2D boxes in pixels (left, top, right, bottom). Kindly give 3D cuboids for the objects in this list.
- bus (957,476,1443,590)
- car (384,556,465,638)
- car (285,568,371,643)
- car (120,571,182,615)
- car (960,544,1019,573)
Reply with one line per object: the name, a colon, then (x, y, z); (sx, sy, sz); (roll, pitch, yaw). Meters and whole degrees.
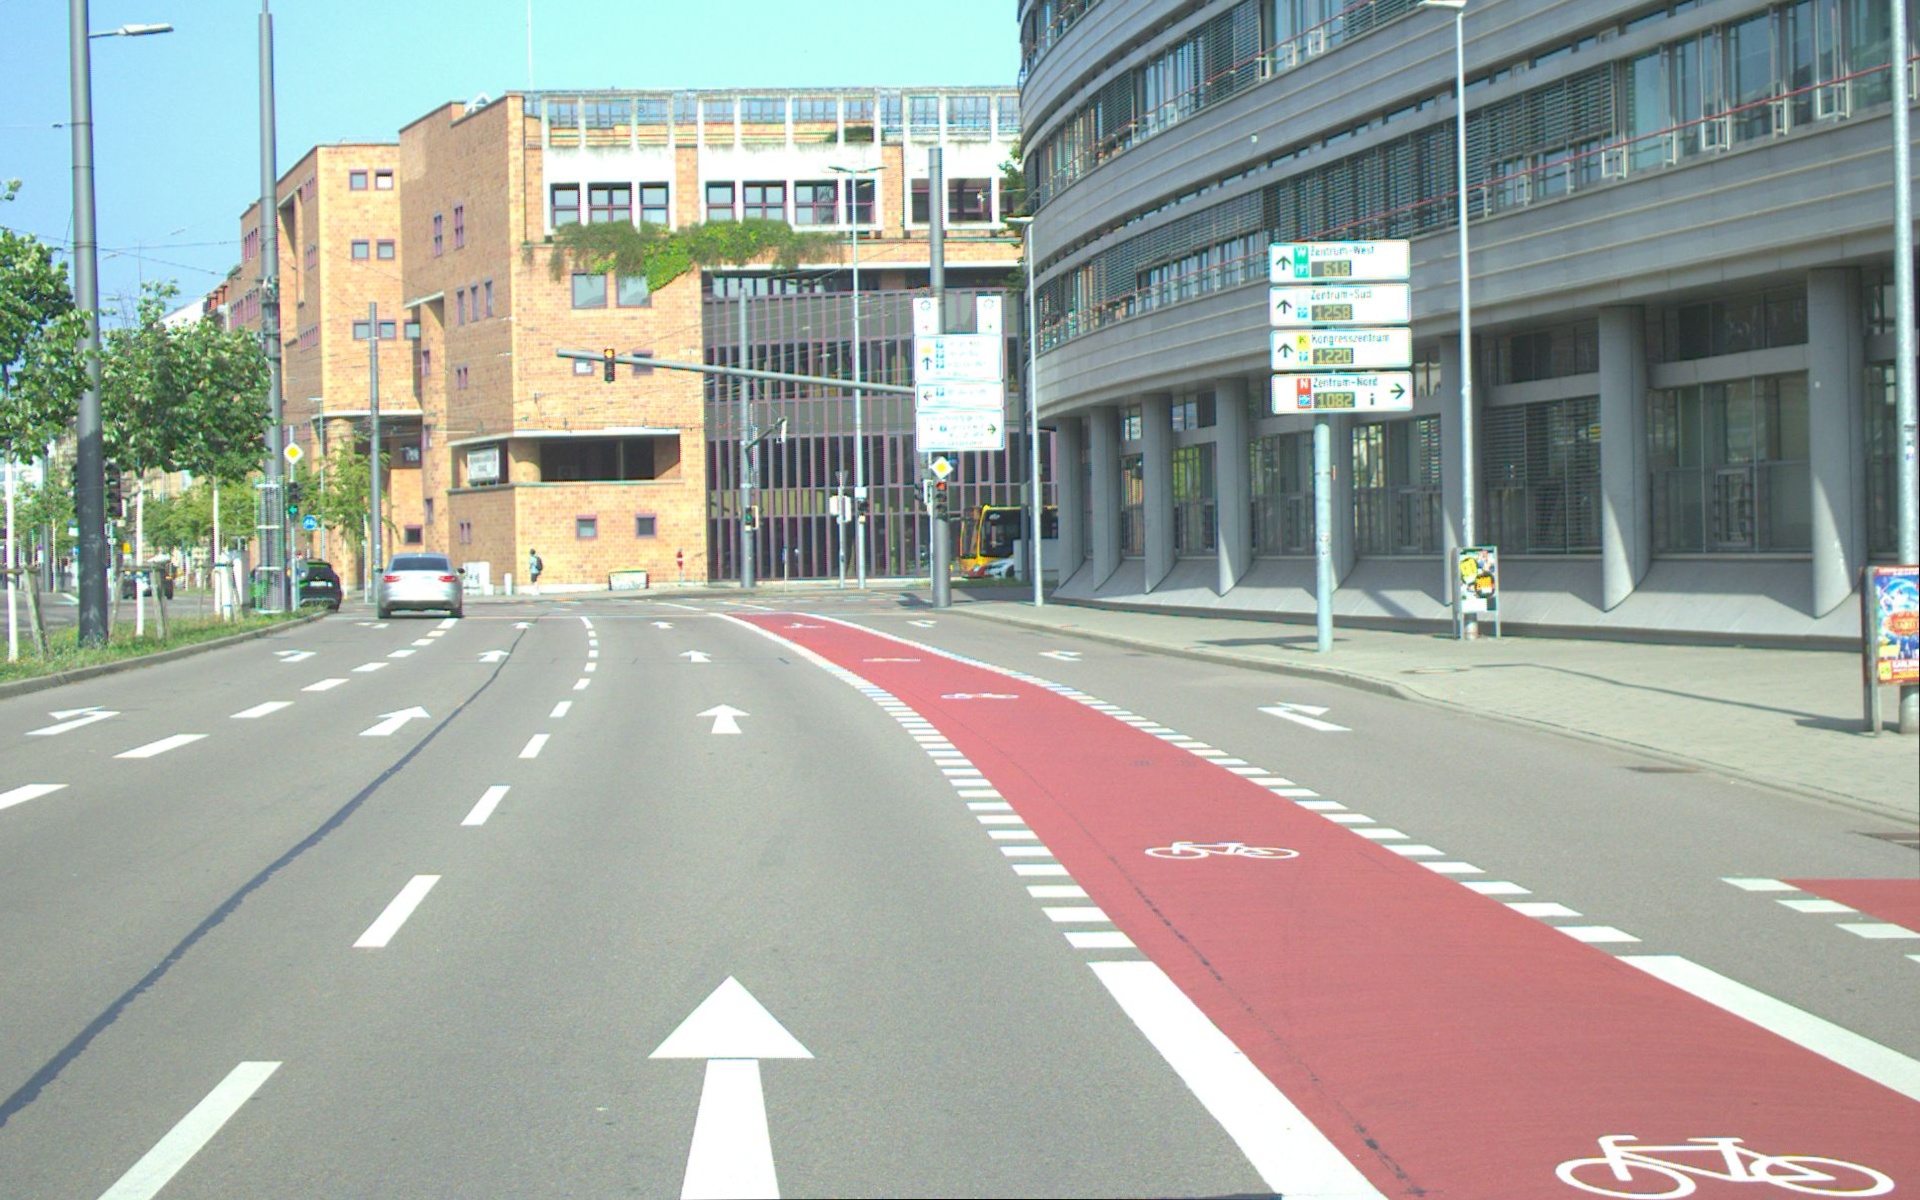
bus: (8.847, -2.474, 127.067); (17.606, 3.797, 2.865); (-1, -1, -7)
car: (-11.952, -0.042, 76.787); (1.704, 1.749, 3.891); (-1, -1, -9)
car: (-17.654, 0.184, 96.153); (1.993, 2.007, 4.243); (-1, -1, -6)
car: (-38.342, -0.318, 162.853); (1.993, 2.007, 4.000); (-1, -1, -26)
car: (1.042, -1.463, 122.637); (1.951, 0.955, 1.094); (1, -2, -8)
